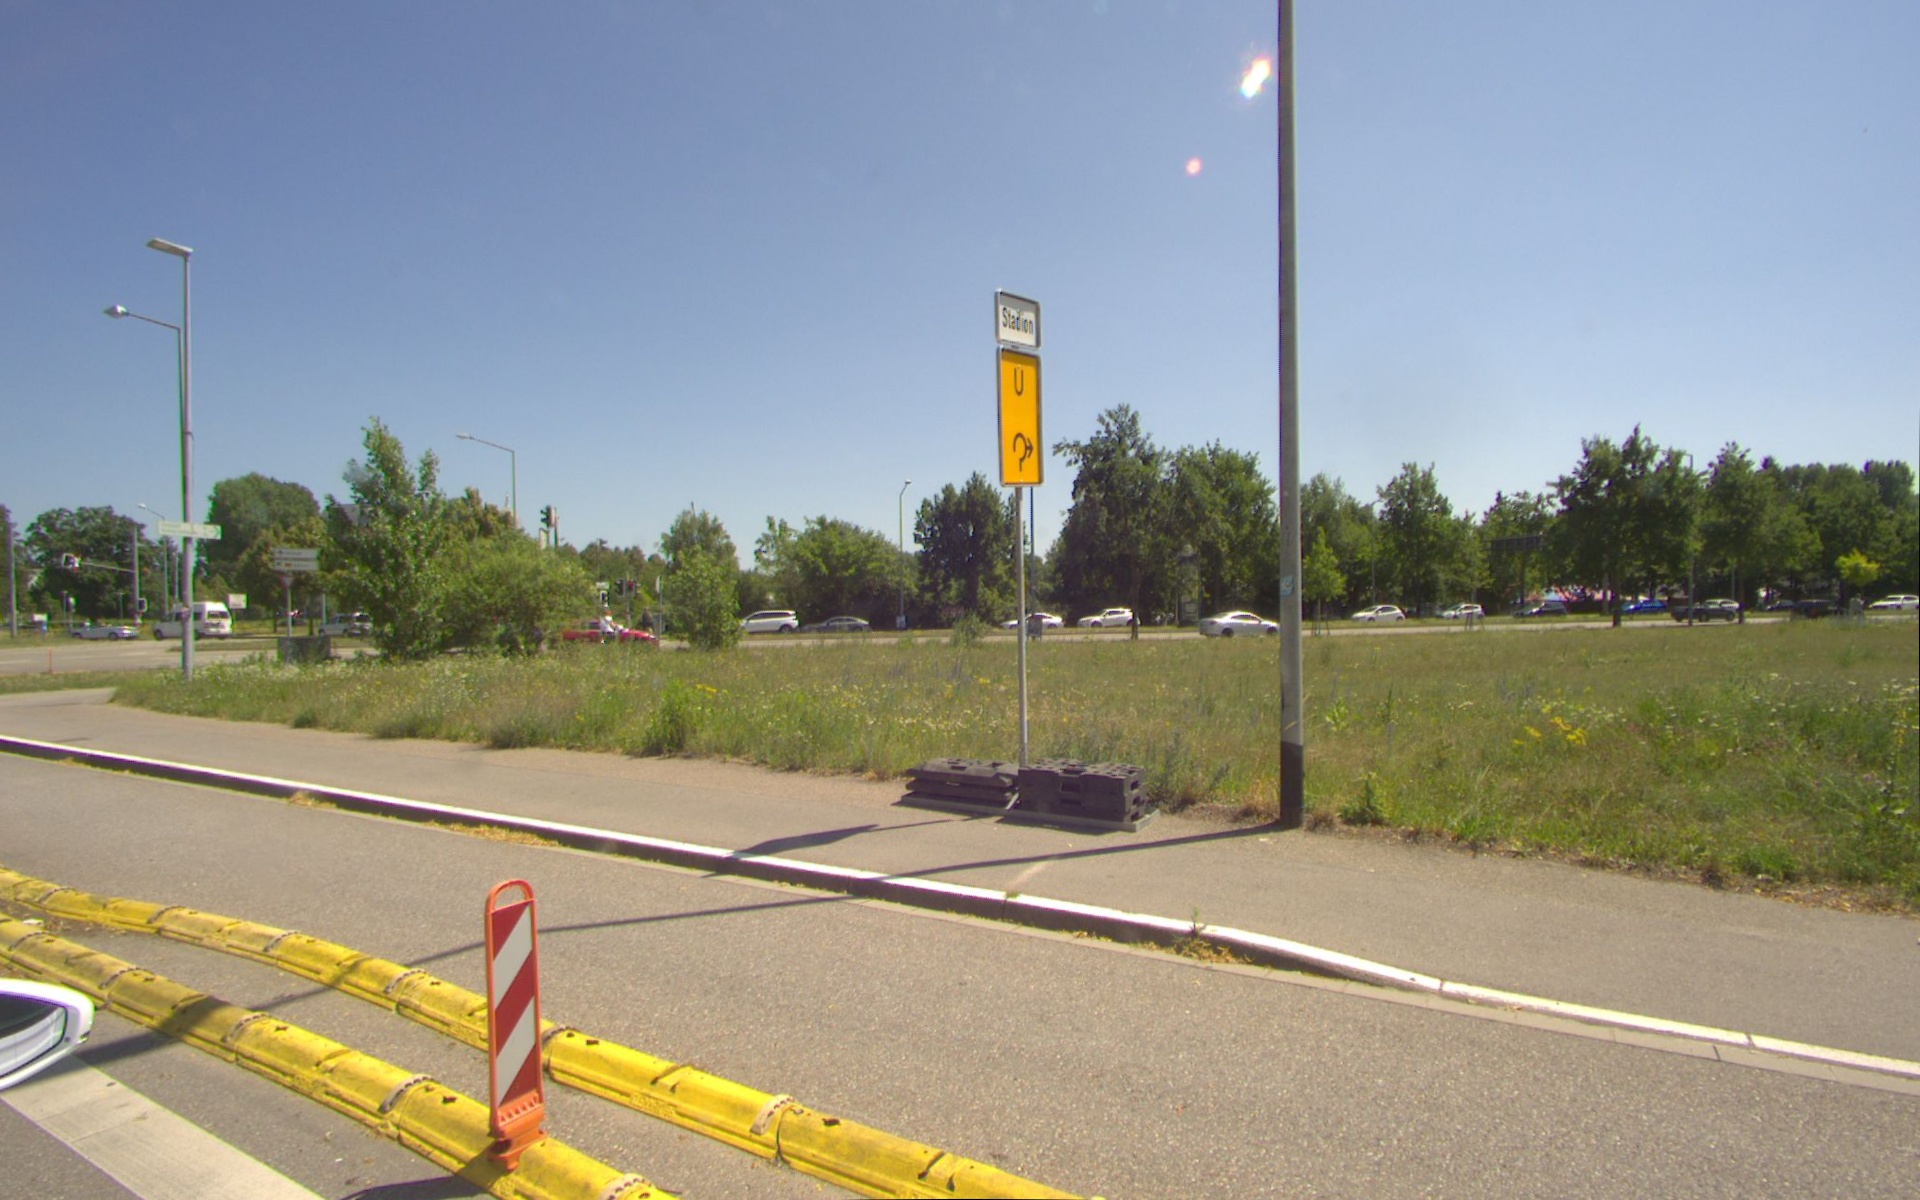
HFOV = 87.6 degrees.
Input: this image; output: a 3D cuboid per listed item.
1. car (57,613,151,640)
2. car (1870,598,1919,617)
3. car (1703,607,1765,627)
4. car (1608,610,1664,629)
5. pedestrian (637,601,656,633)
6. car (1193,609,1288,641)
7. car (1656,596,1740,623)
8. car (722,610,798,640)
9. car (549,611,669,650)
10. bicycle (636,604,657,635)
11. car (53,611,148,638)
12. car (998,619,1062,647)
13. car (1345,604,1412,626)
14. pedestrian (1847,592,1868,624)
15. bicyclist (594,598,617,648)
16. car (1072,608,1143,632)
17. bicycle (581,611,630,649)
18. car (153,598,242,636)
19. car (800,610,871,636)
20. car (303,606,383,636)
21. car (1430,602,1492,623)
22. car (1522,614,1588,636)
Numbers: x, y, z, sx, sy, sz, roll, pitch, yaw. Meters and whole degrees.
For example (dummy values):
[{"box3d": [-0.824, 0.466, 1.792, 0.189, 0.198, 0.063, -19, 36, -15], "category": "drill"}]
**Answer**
[{"box3d": [-65.413, 2.041, 76.561, 5.225, 1.986, 1.994, 0, -2, -6], "category": "car"}, {"box3d": [83.101, 0.646, 88.624, 4.366, 1.612, 1.846, 0, -2, -17], "category": "car"}, {"box3d": [64.368, 1.393, 83.317, 4.366, 1.612, 1.846, 0, -2, -16], "category": "car"}, {"box3d": [56.946, 1.639, 84.390, 3.927, 1.558, 1.764, 0, -2, -14], "category": "car"}, {"box3d": [-16.713, 0.922, 53.423, 0.954, 1.681, 0.885, 0, -1, -16], "category": "pedestrian"}, {"box3d": [14.337, 1.252, 51.211, 4.344, 1.547, 1.995, 0, 0, -20], "category": "car"}, {"box3d": [49.308, 0.665, 66.873, 5.241, 1.758, 1.995, 1, -2, -21], "category": "car"}, {"box3d": [-12.146, 1.510, 60.725, 4.366, 1.758, 1.846, 0, -2, -16], "category": "car"}, {"box3d": [-14.426, 1.258, 41.169, 4.359, 1.546, 1.989, 1, -2, -32], "category": "car"}, {"box3d": [-16.756, 1.057, 53.561, 0.967, 1.617, 2.879, 0, -2, -16], "category": "bicycle"}, {"box3d": [-65.438, 1.868, 76.299, 5.227, 1.986, 1.994, 0, -2, -8], "category": "car"}, {"box3d": [4.797, 2.275, 68.885, 4.074, 1.840, 1.662, 0, -2, -15], "category": "car"}, {"box3d": [30.832, 1.127, 73.742, 4.366, 1.612, 1.846, 0, -2, -16], "category": "car"}, {"box3d": [46.295, 0.413, 51.635, 0.548, 1.611, 0.662, 1, -1, -32], "category": "pedestrian"}, {"box3d": [-13.156, 0.854, 37.165, 0.597, 1.864, 0.572, 0, -1, 2], "category": "bicyclist"}, {"box3d": [9.929, 1.370, 67.579, 4.366, 1.612, 1.846, 0, -2, -16], "category": "car"}, {"box3d": [-13.190, 1.120, 37.360, 0.628, 1.370, 2.896, 0, -2, 4], "category": "bicycle"}, {"box3d": [-49.986, 1.168, 65.646, 5.232, 2.427, 1.992, -1, -2, 17], "category": "car"}, {"box3d": [-8.107, 1.516, 65.126, 4.366, 1.612, 1.846, 0, -2, -16], "category": "car"}, {"box3d": [-44.616, 1.568, 72.454, 5.232, 2.097, 1.992, -1, -2, 17], "category": "car"}, {"box3d": [39.913, 1.022, 79.833, 4.365, 1.613, 1.845, 0, 0, -16], "category": "car"}, {"box3d": [45.407, 1.909, 76.434, 4.366, 1.612, 1.846, 0, -2, -16], "category": "car"}]
